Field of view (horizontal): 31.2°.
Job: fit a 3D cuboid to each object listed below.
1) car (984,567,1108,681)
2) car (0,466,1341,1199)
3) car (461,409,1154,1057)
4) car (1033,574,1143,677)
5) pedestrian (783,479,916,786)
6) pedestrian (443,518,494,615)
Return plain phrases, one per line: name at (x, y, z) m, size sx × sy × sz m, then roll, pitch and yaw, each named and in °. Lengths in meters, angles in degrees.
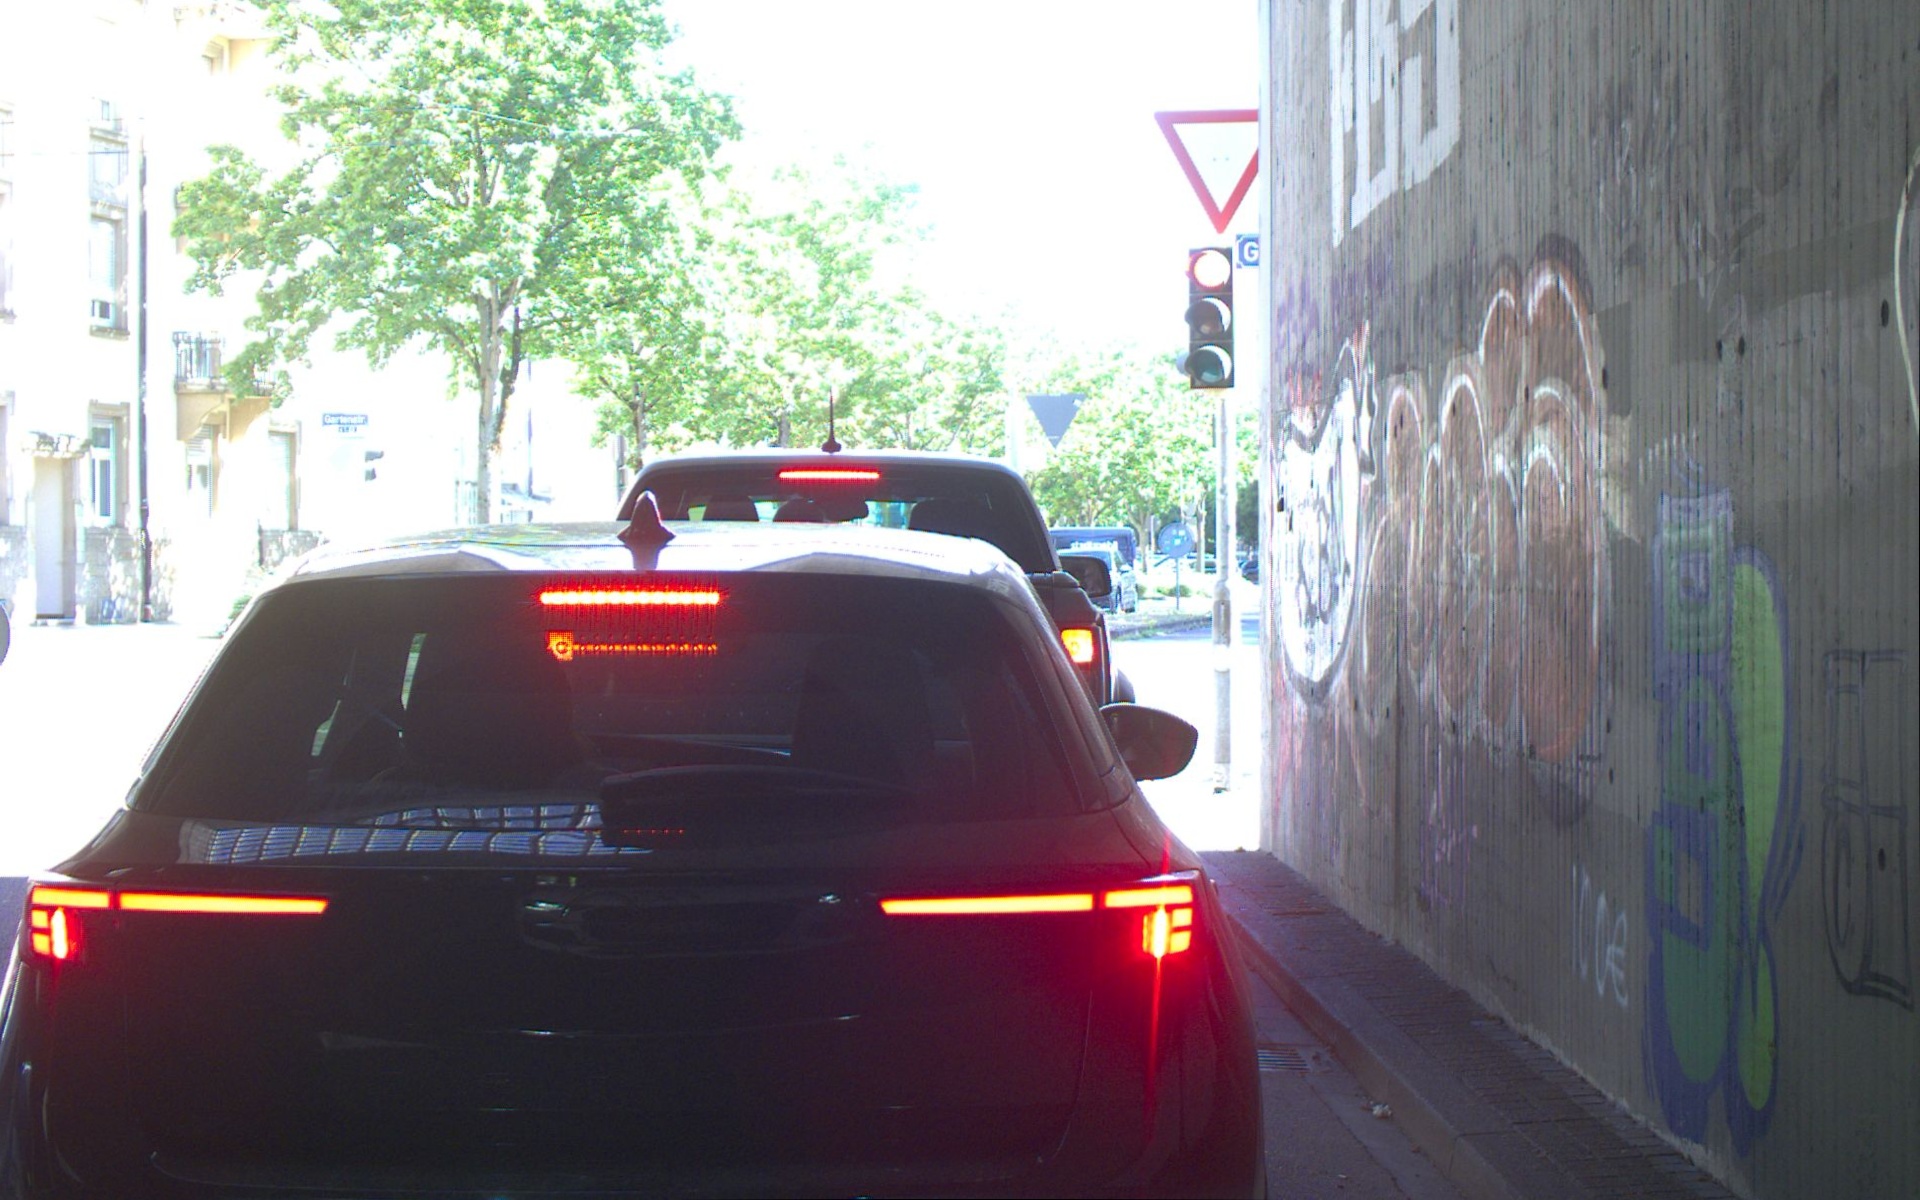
car at (1.588, 0.395, 62.306) m, size 1.994 × 1.963 × 4.163 m, roll 1°, pitch 1°, yaw 5°
car at (-0.476, 0.565, 5.991) m, size 1.764 × 1.566 × 4.001 m, roll 1°, pitch 2°, yaw -1°
car at (-0.462, 0.348, 11.968) m, size 1.993 × 1.865 × 4.000 m, roll 0°, pitch 1°, yaw -1°
car at (2.580, 0.475, 68.443) m, size 1.994 × 1.963 × 4.163 m, roll 1°, pitch 1°, yaw 5°
pedestrian at (-0.632, 0.179, 19.905) m, size 0.731 × 1.728 × 0.874 m, roll 1°, pitch 0°, yaw -1°
pedestrian at (-10.702, -0.726, 74.808) m, size 0.892 × 2.080 × 0.808 m, roll 1°, pitch 0°, yaw 7°
